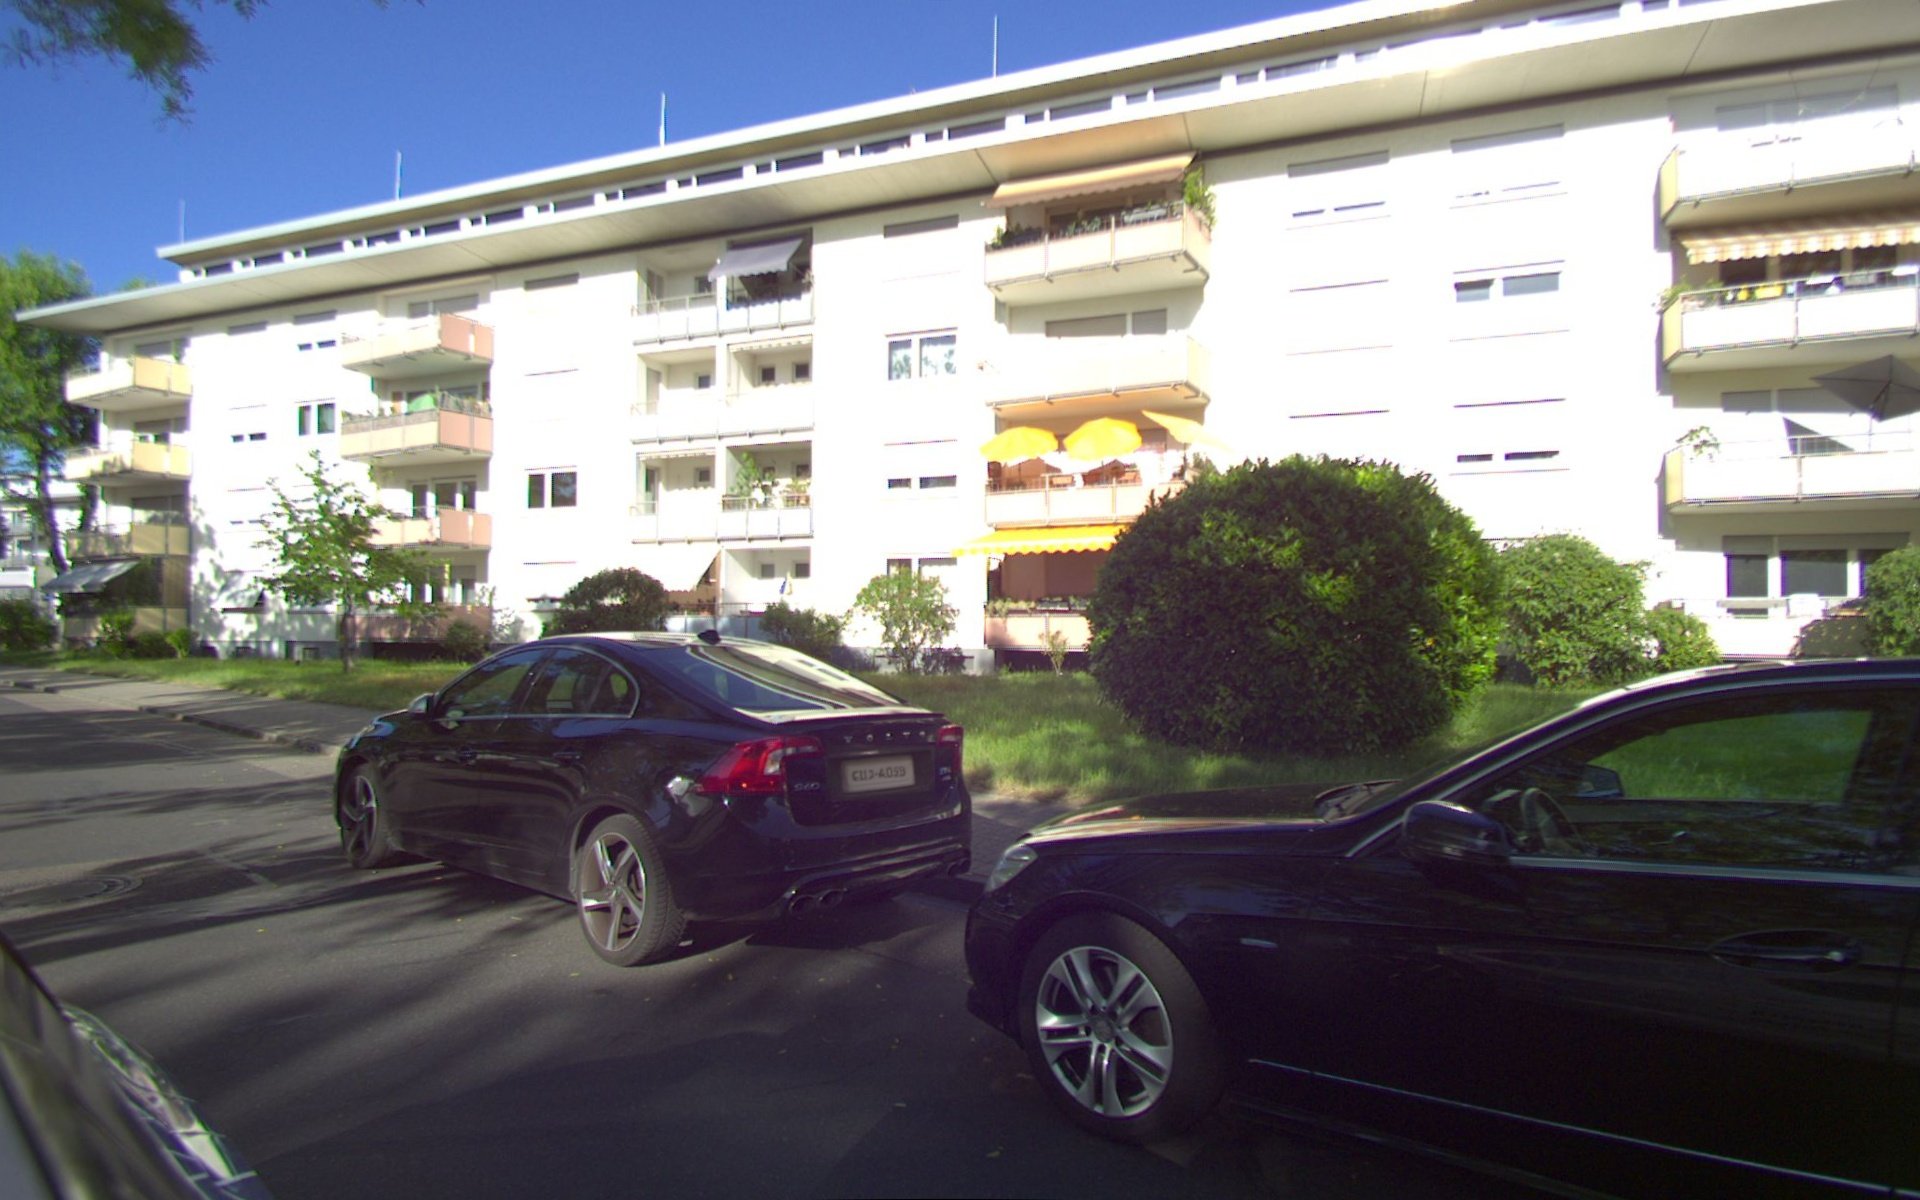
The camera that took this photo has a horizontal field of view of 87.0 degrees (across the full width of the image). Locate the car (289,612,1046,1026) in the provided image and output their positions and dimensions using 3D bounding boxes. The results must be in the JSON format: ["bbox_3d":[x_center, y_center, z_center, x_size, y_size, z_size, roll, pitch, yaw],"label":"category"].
[{"bbox_3d":[-1.995,0.866,5.909,4.795,1.493,1.822,-1,-3,39],"label":"car"}]

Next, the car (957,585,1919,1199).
[{"bbox_3d":[2.335,0.784,2.424,4.571,1.493,1.821,-1,-5,40],"label":"car"}]
